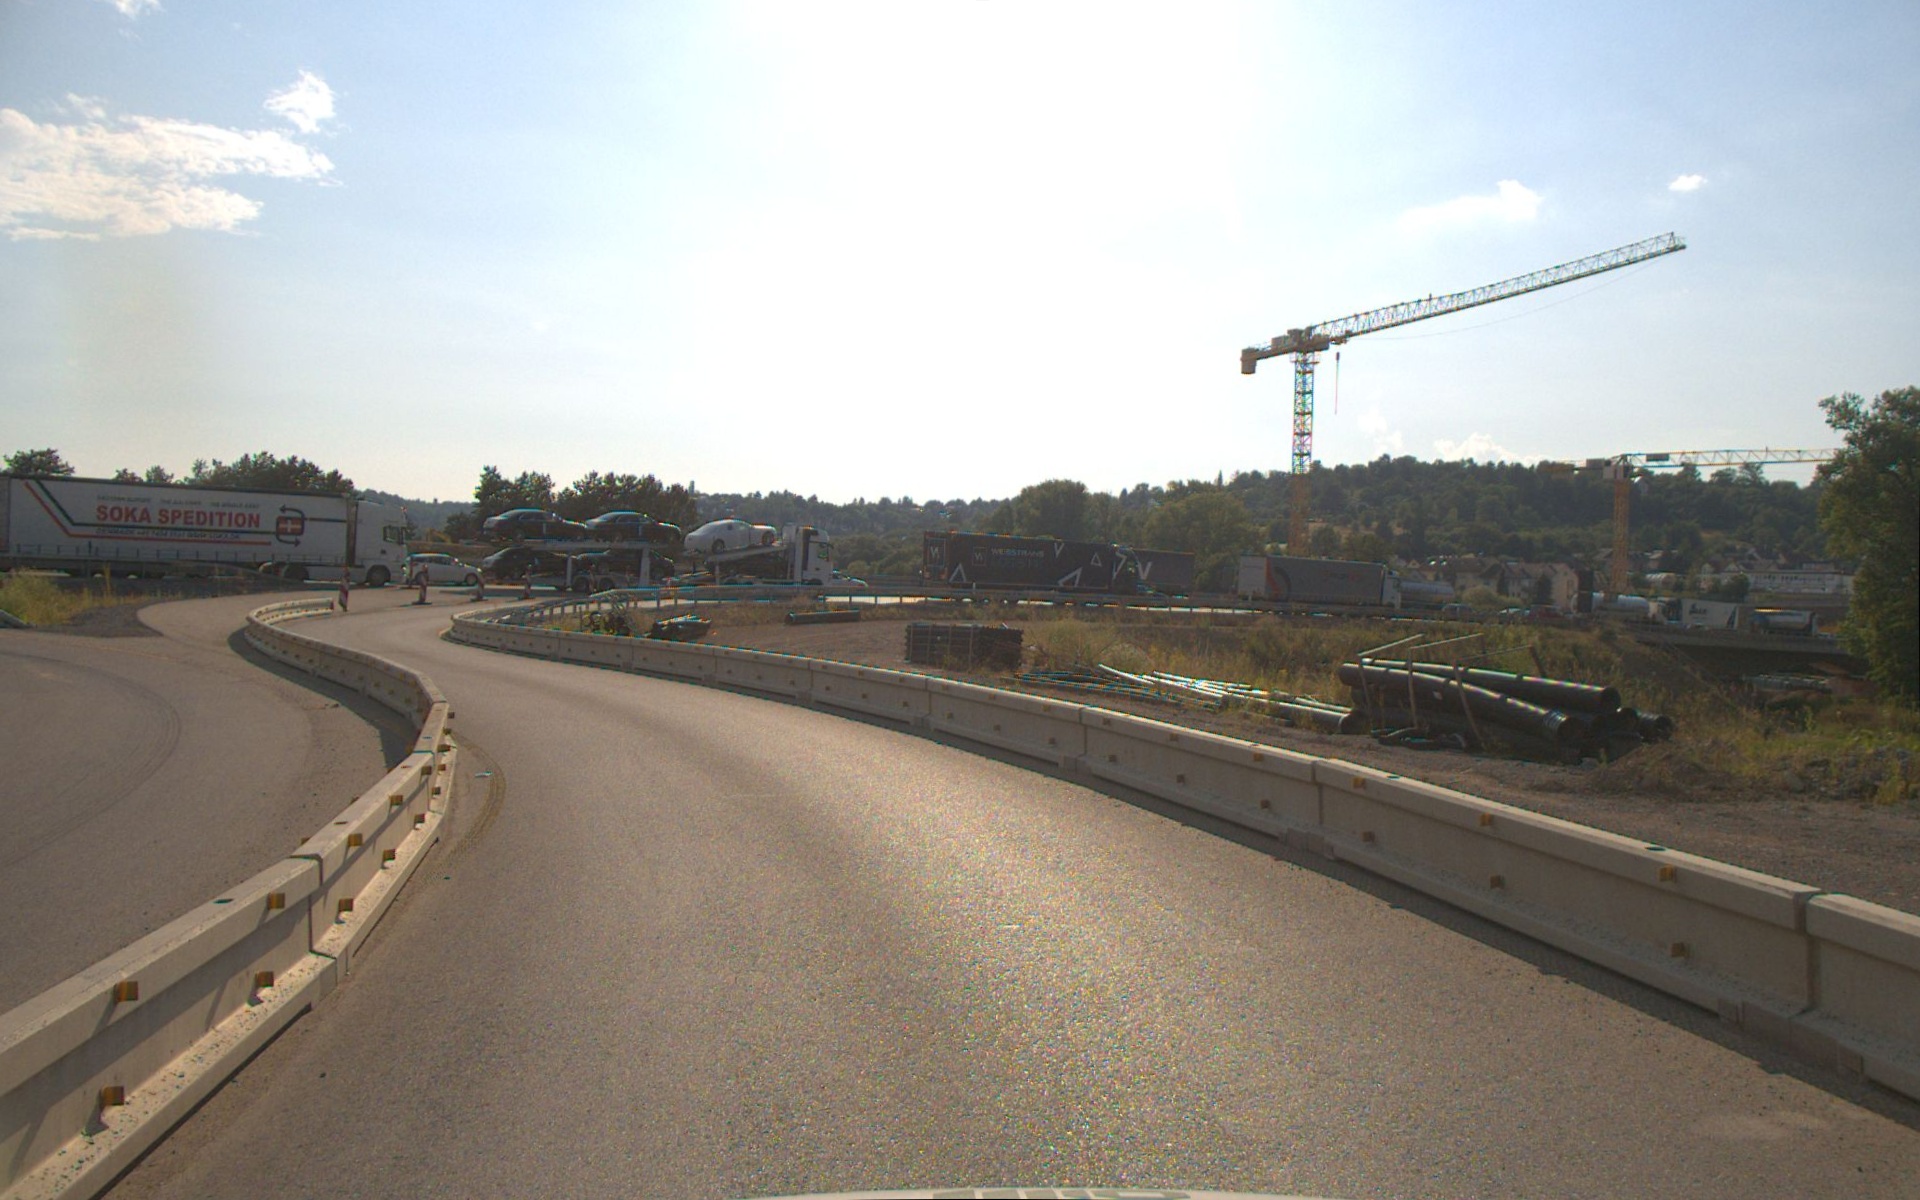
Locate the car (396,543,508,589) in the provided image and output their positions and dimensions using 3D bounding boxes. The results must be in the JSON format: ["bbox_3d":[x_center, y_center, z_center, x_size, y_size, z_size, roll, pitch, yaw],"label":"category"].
[{"bbox_3d":[-25.389,-1.705,82.738,4.931,2.015,2.007,2,3,-40],"label":"car"}]

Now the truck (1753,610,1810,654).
[{"bbox_3d":[87.460,3.441,176.020,6.563,4.360,3.063,2,0,-41],"label":"truck"}]

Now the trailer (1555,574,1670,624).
[{"bbox_3d":[60.081,-0.033,151.905,14.610,4.066,3.346,2,0,-41],"label":"trailer"}]

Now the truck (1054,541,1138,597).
[{"bbox_3d":[10.006,-2.251,121.288,5.634,3.792,2.963,2,-1,-40],"label":"truck"}]

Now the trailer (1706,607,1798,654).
[{"bbox_3d":[82.182,3.206,171.378,14.121,4.389,3.068,2,0,-41],"label":"trailer"}]

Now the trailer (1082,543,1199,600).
[{"bbox_3d":[13.647,-2.107,124.393,9.478,3.817,2.974,2,-1,-40],"label":"trailer"}]

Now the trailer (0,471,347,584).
[{"bbox_3d":[-33.493,-2.978,70.785,13.507,3.945,2.452,2,1,-41],"label":"trailer"}]

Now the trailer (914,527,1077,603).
[{"bbox_3d":[2.301,-2.087,101.926,10.688,4.163,2.926,2,0,-40],"label":"trailer"}]

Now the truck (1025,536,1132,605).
[{"bbox_3d":[7.644,-1.873,106.345,6.560,4.066,2.854,2,0,-40],"label":"truck"}]

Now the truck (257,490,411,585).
[{"bbox_3d":[-28.425,-2.793,75.240,5.957,3.945,2.452,2,1,-41],"label":"truck"}]

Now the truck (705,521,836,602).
[{"bbox_3d":[-10.380,-2.104,91.007,6.563,4.066,2.816,2,0,-41],"label":"truck"}]

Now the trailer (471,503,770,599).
[{"bbox_3d":[-17.095,-2.383,85.109,15.601,4.066,2.825,2,0,-41],"label":"trailer"}]

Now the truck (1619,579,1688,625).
[{"bbox_3d":[65.861,0.192,156.947,6.563,4.066,3.352,2,0,-41],"label":"truck"}]

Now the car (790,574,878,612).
[{"bbox_3d":[-7.492,-0.407,98.487,4.931,2.015,2.007,2,3,-40],"label":"car"}]

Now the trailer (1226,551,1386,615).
[{"bbox_3d":[25.719,-1.217,122.100,14.610,4.066,3.346,2,0,-41],"label":"trailer"}]

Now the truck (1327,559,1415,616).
[{"bbox_3d":[31.608,-0.965,127.193,6.563,4.066,3.306,2,0,-41],"label":"truck"}]
